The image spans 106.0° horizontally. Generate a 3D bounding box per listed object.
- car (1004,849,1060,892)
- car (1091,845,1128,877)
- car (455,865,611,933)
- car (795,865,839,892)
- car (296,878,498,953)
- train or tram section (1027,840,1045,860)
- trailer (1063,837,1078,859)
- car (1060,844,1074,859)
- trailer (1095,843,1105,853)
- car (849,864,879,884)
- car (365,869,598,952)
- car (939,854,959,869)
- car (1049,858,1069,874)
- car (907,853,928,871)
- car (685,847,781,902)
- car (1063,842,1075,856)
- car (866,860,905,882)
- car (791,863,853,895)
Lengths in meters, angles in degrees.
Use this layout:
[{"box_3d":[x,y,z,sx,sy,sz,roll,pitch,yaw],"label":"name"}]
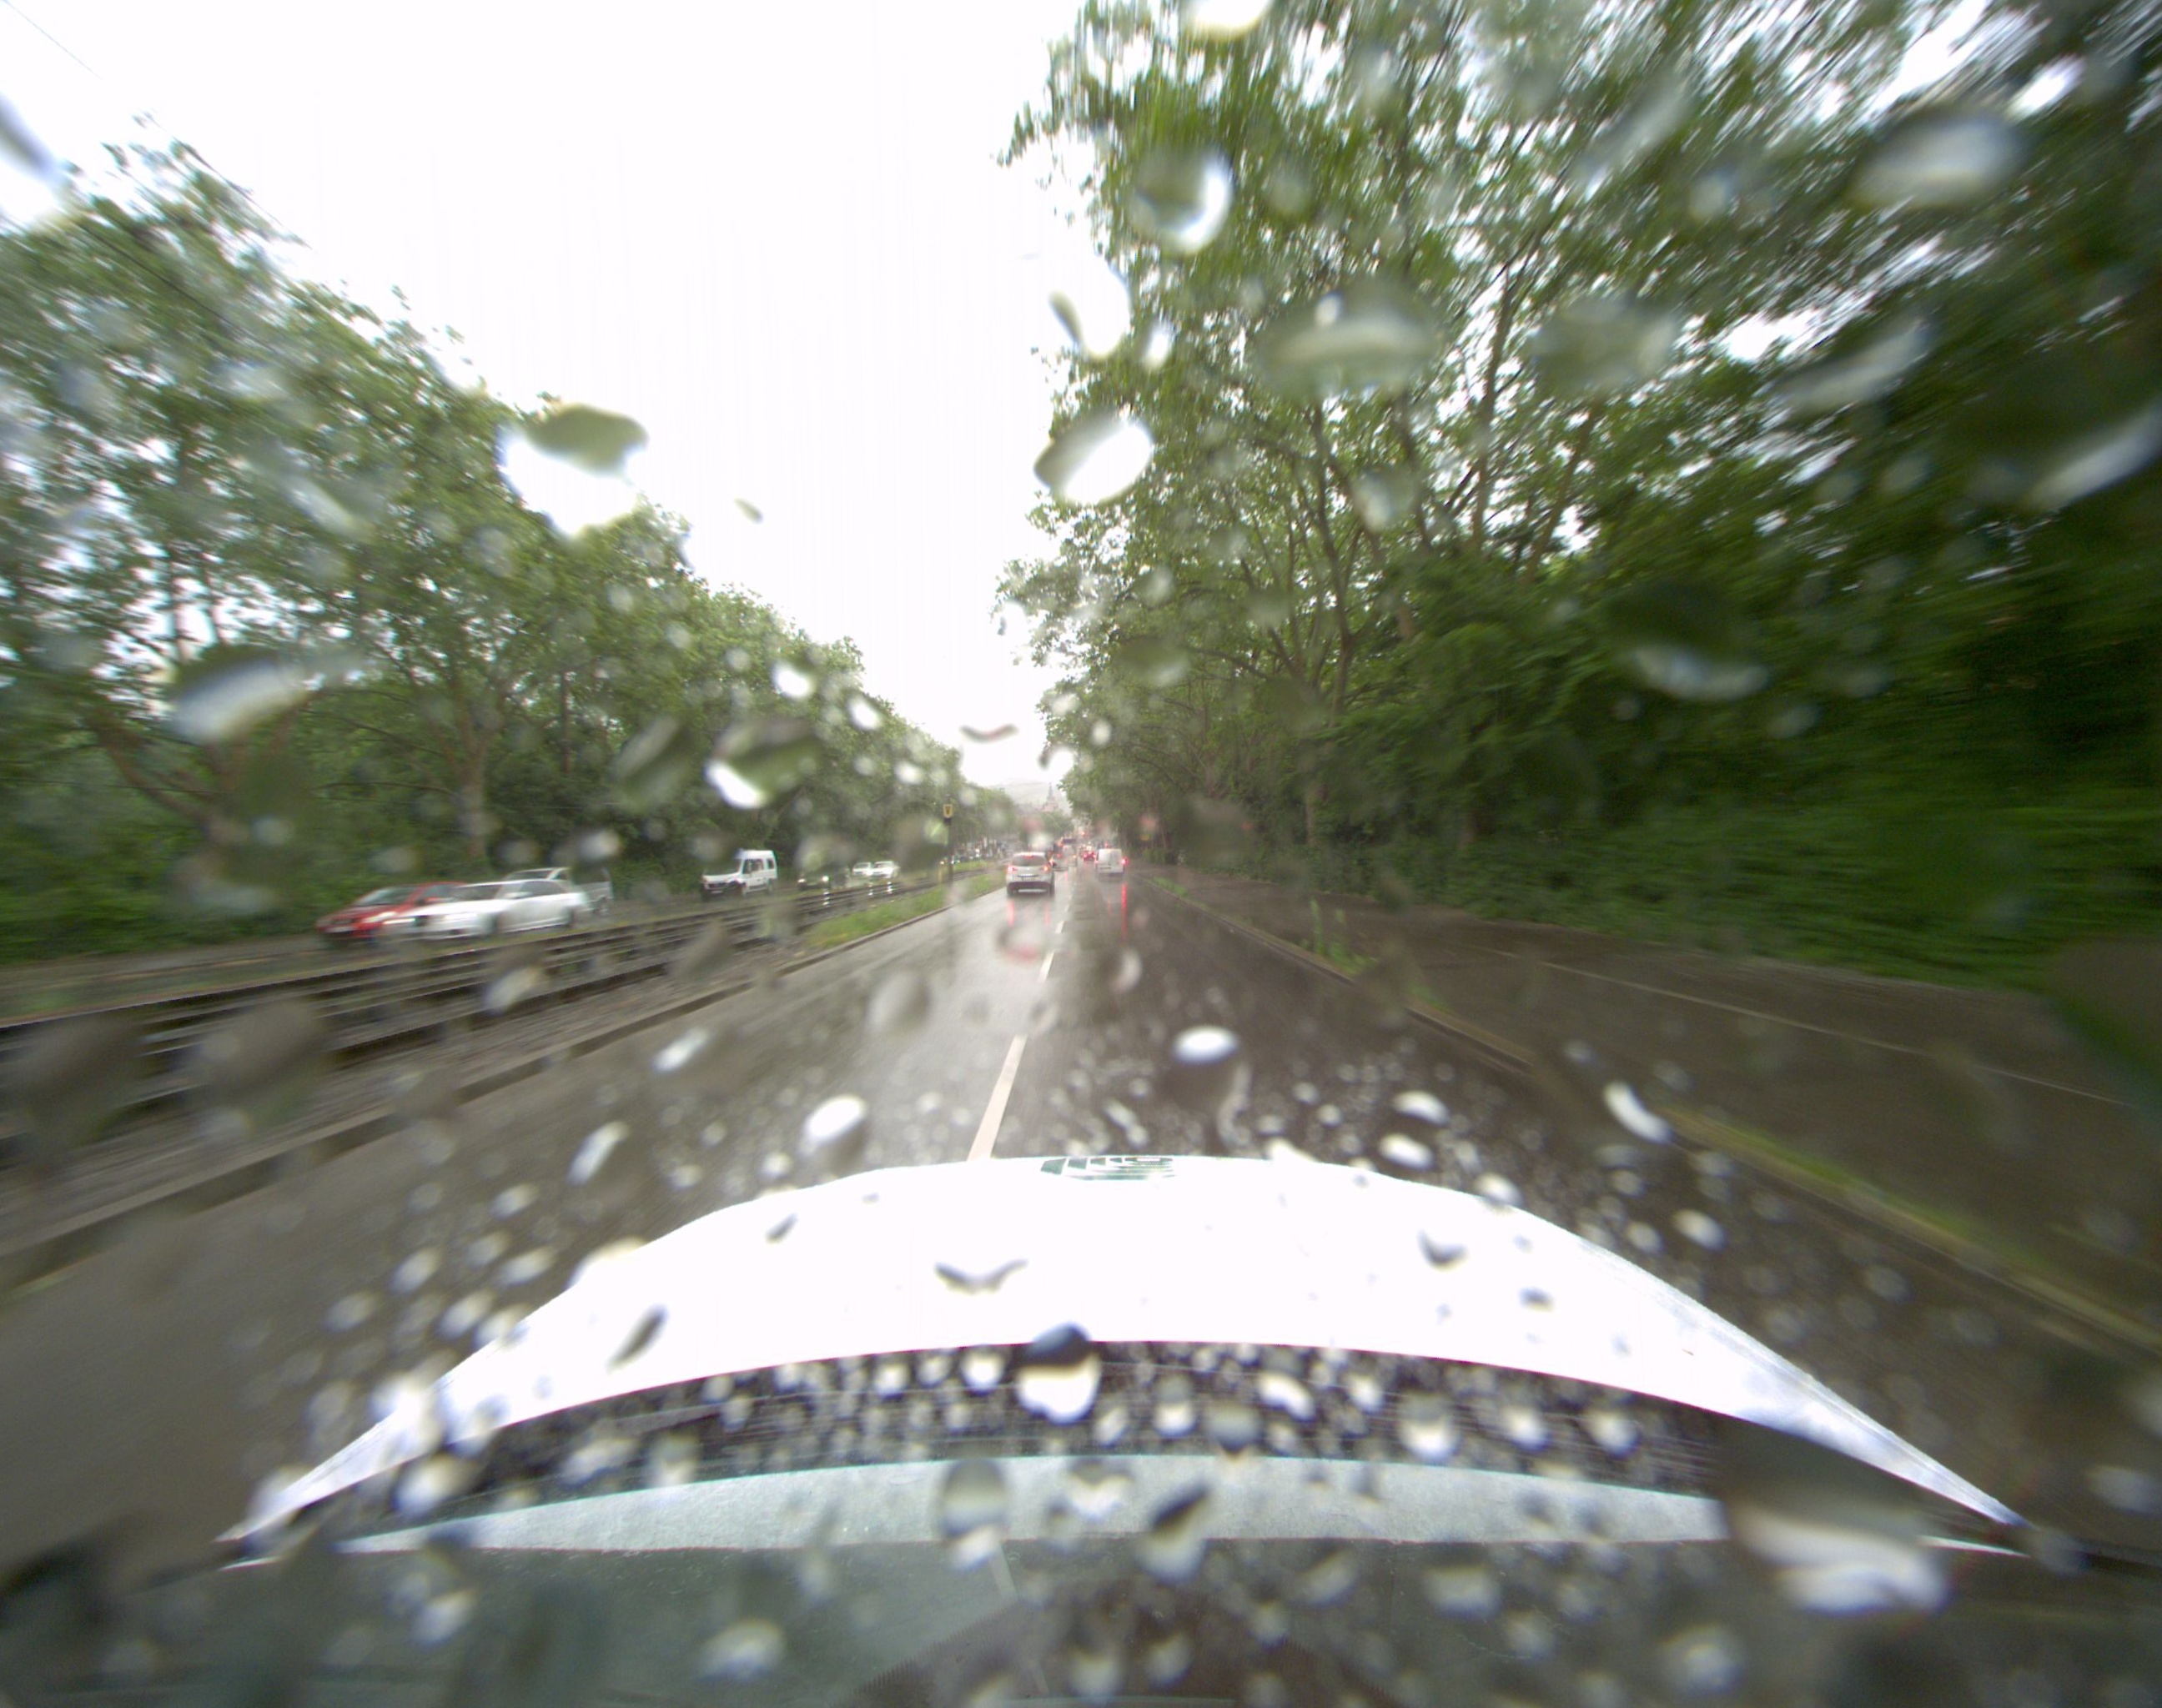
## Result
[{"box_3d":[-1.933,0.647,33.418,1.858,1.623,4.264,-1,0,2],"label":"car"},{"box_3d":[1.591,0.404,46.917,1.953,1.777,3.568,-1,-1,-1],"label":"car"},{"box_3d":[-17.748,1.375,26.724,1.951,1.862,4.638,-3,0,-1],"label":"car"},{"box_3d":[-18.768,1.701,58.146,1.746,1.728,4.527,-3,0,-3],"label":"car"},{"box_3d":[-17.505,1.510,21.153,1.813,1.552,4.022,-3,0,-1],"label":"car"},{"box_3d":[-8.358,-0.784,151.274,2.953,3.285,8.356,-3,1,-2],"label":"train or tram section"},{"box_3d":[-2.036,-1.089,152.784,2.583,3.899,7.631,-1,0,-2],"label":"trailer"},{"box_3d":[-2.347,-0.394,142.336,2.322,2.557,6.112,-1,-1,0],"label":"car"},{"box_3d":[4.389,-1.398,190.270,1.988,2.317,4.665,-1,-1,-2],"label":"trailer"},{"box_3d":[-19.957,1.858,75.002,1.757,1.648,3.809,-3,0,-3],"label":"car"},{"box_3d":[-14.119,1.236,19.674,2.028,1.552,4.992,-3,0,-3],"label":"car"},{"box_3d":[-17.603,0.982,108.526,2.027,1.751,4.255,-3,0,-3],"label":"car"},{"box_3d":[-1.981,1.095,74.990,1.720,1.479,3.804,-1,-1,-1],"label":"car"},{"box_3d":[-21.147,1.018,105.542,2.028,2.093,4.796,-3,0,-5],"label":"car"},{"box_3d":[-18.165,0.999,43.013,2.384,2.540,6.560,-3,0,-3],"label":"car"},{"box_3d":[-1.930,-0.773,131.930,1.987,2.262,5.287,-1,-1,0],"label":"car"},{"box_3d":[-15.352,1.325,64.103,1.973,1.567,4.764,-3,0,-2],"label":"car"},{"box_3d":[-14.393,1.335,45.542,2.027,1.552,4.564,-3,0,-1],"label":"car"}]
